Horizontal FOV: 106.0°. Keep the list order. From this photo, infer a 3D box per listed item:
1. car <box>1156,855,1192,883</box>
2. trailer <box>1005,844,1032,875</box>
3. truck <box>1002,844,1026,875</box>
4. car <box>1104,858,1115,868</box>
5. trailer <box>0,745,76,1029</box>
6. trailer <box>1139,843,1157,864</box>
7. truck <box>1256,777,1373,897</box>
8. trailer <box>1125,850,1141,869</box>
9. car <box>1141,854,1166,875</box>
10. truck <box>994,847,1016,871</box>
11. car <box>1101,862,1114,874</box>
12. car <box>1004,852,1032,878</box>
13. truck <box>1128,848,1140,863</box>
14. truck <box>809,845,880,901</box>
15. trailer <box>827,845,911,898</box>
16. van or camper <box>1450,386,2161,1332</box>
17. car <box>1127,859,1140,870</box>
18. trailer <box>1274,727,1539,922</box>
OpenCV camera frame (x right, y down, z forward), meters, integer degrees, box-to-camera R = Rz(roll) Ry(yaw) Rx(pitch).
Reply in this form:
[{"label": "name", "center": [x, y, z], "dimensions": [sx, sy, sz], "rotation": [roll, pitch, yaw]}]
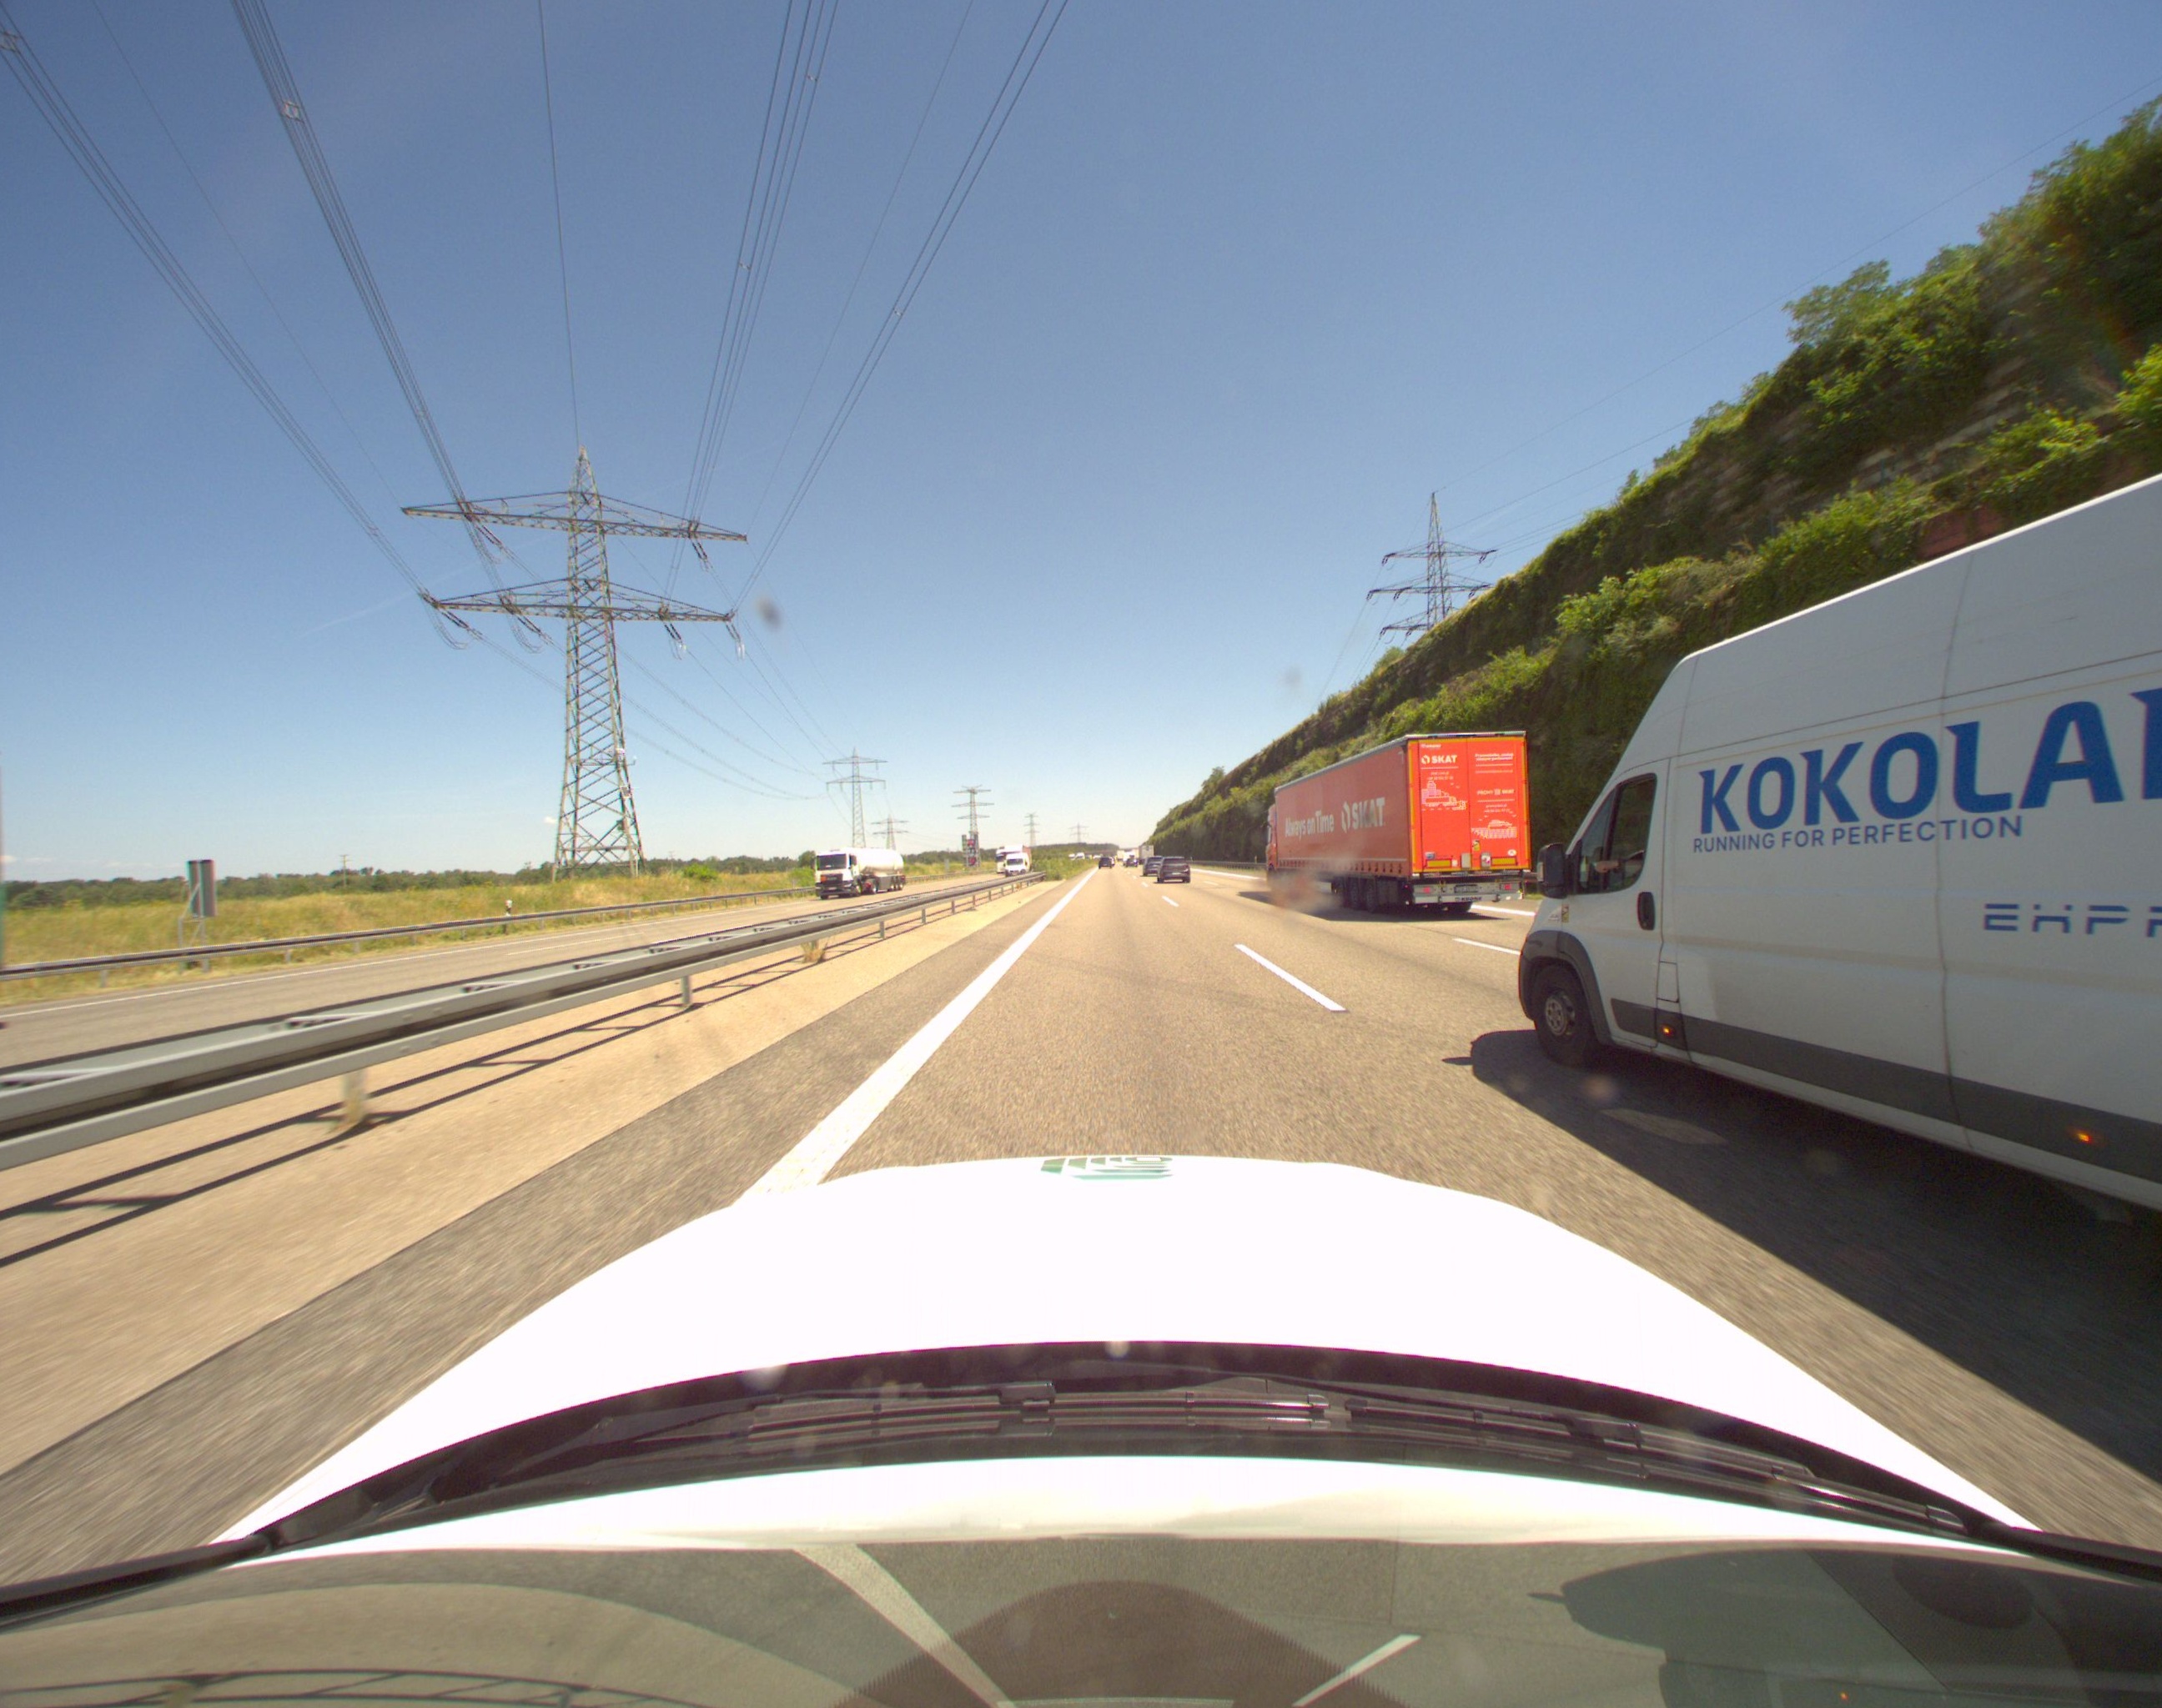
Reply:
[{"label": "car", "center": [5.486, 0.855, 48.488], "dimensions": [1.743, 1.525, 3.996], "rotation": [-2, 0, 1]}, {"label": "trailer", "center": [-9.361, 0.782, 123.248], "dimensions": [2.582, 4.238, 14.331], "rotation": [-3, 0, 1]}, {"label": "truck", "center": [-9.556, 0.740, 116.660], "dimensions": [2.590, 4.211, 5.912], "rotation": [-3, 0, 2]}, {"label": "car", "center": [4.875, 1.552, 141.035], "dimensions": [1.823, 1.670, 4.001], "rotation": [-3, 0, 2]}, {"label": "trailer", "center": [-16.997, 0.501, 5.543], "dimensions": [2.659, 4.085, 13.919], "rotation": [-3, 0, 1]}, {"label": "trailer", "center": [14.209, -0.033, 173.212], "dimensions": [3.171, 4.121, 13.438], "rotation": [-3, 0, 2]}, {"label": "truck", "center": [8.638, -0.556, 30.953], "dimensions": [2.608, 3.992, 6.529], "rotation": [-2, 0, 2]}, {"label": "trailer", "center": [9.774, 1.030, 153.864], "dimensions": [2.601, 3.213, 9.956], "rotation": [-3, 0, 2]}, {"label": "car", "center": [5.923, 0.830, 66.983], "dimensions": [1.787, 1.653, 4.140], "rotation": [-2, 0, 2]}, {"label": "truck", "center": [-12.734, 0.782, 136.800], "dimensions": [2.825, 3.751, 6.850], "rotation": [-3, 0, 1]}, {"label": "car", "center": [3.845, 1.996, 119.407], "dimensions": [1.823, 1.670, 4.001], "rotation": [-3, 0, 2]}, {"label": "car", "center": [-6.424, 1.133, 83.327], "dimensions": [1.985, 2.437, 6.034], "rotation": [-3, 0, 3]}, {"label": "truck", "center": [15.865, 0.385, 242.607], "dimensions": [3.107, 4.280, 11.940], "rotation": [-3, 0, 2]}, {"label": "truck", "center": [-15.446, 1.192, 53.580], "dimensions": [2.473, 3.378, 6.214], "rotation": [-3, 0, 2]}, {"label": "trailer", "center": [-15.192, 1.155, 59.372], "dimensions": [2.406, 3.372, 11.571], "rotation": [-3, 0, 3]}, {"label": "van or camper", "center": [4.236, 0.006, 3.726], "dimensions": [2.089, 2.769, 6.758], "rotation": [-2, 0, 1]}, {"label": "car", "center": [8.188, 1.617, 127.470], "dimensions": [1.822, 1.525, 4.003], "rotation": [-3, 0, 3]}, {"label": "trailer", "center": [8.424, -0.591, 23.855], "dimensions": [2.635, 4.005, 13.611], "rotation": [-2, 0, 2]}]
